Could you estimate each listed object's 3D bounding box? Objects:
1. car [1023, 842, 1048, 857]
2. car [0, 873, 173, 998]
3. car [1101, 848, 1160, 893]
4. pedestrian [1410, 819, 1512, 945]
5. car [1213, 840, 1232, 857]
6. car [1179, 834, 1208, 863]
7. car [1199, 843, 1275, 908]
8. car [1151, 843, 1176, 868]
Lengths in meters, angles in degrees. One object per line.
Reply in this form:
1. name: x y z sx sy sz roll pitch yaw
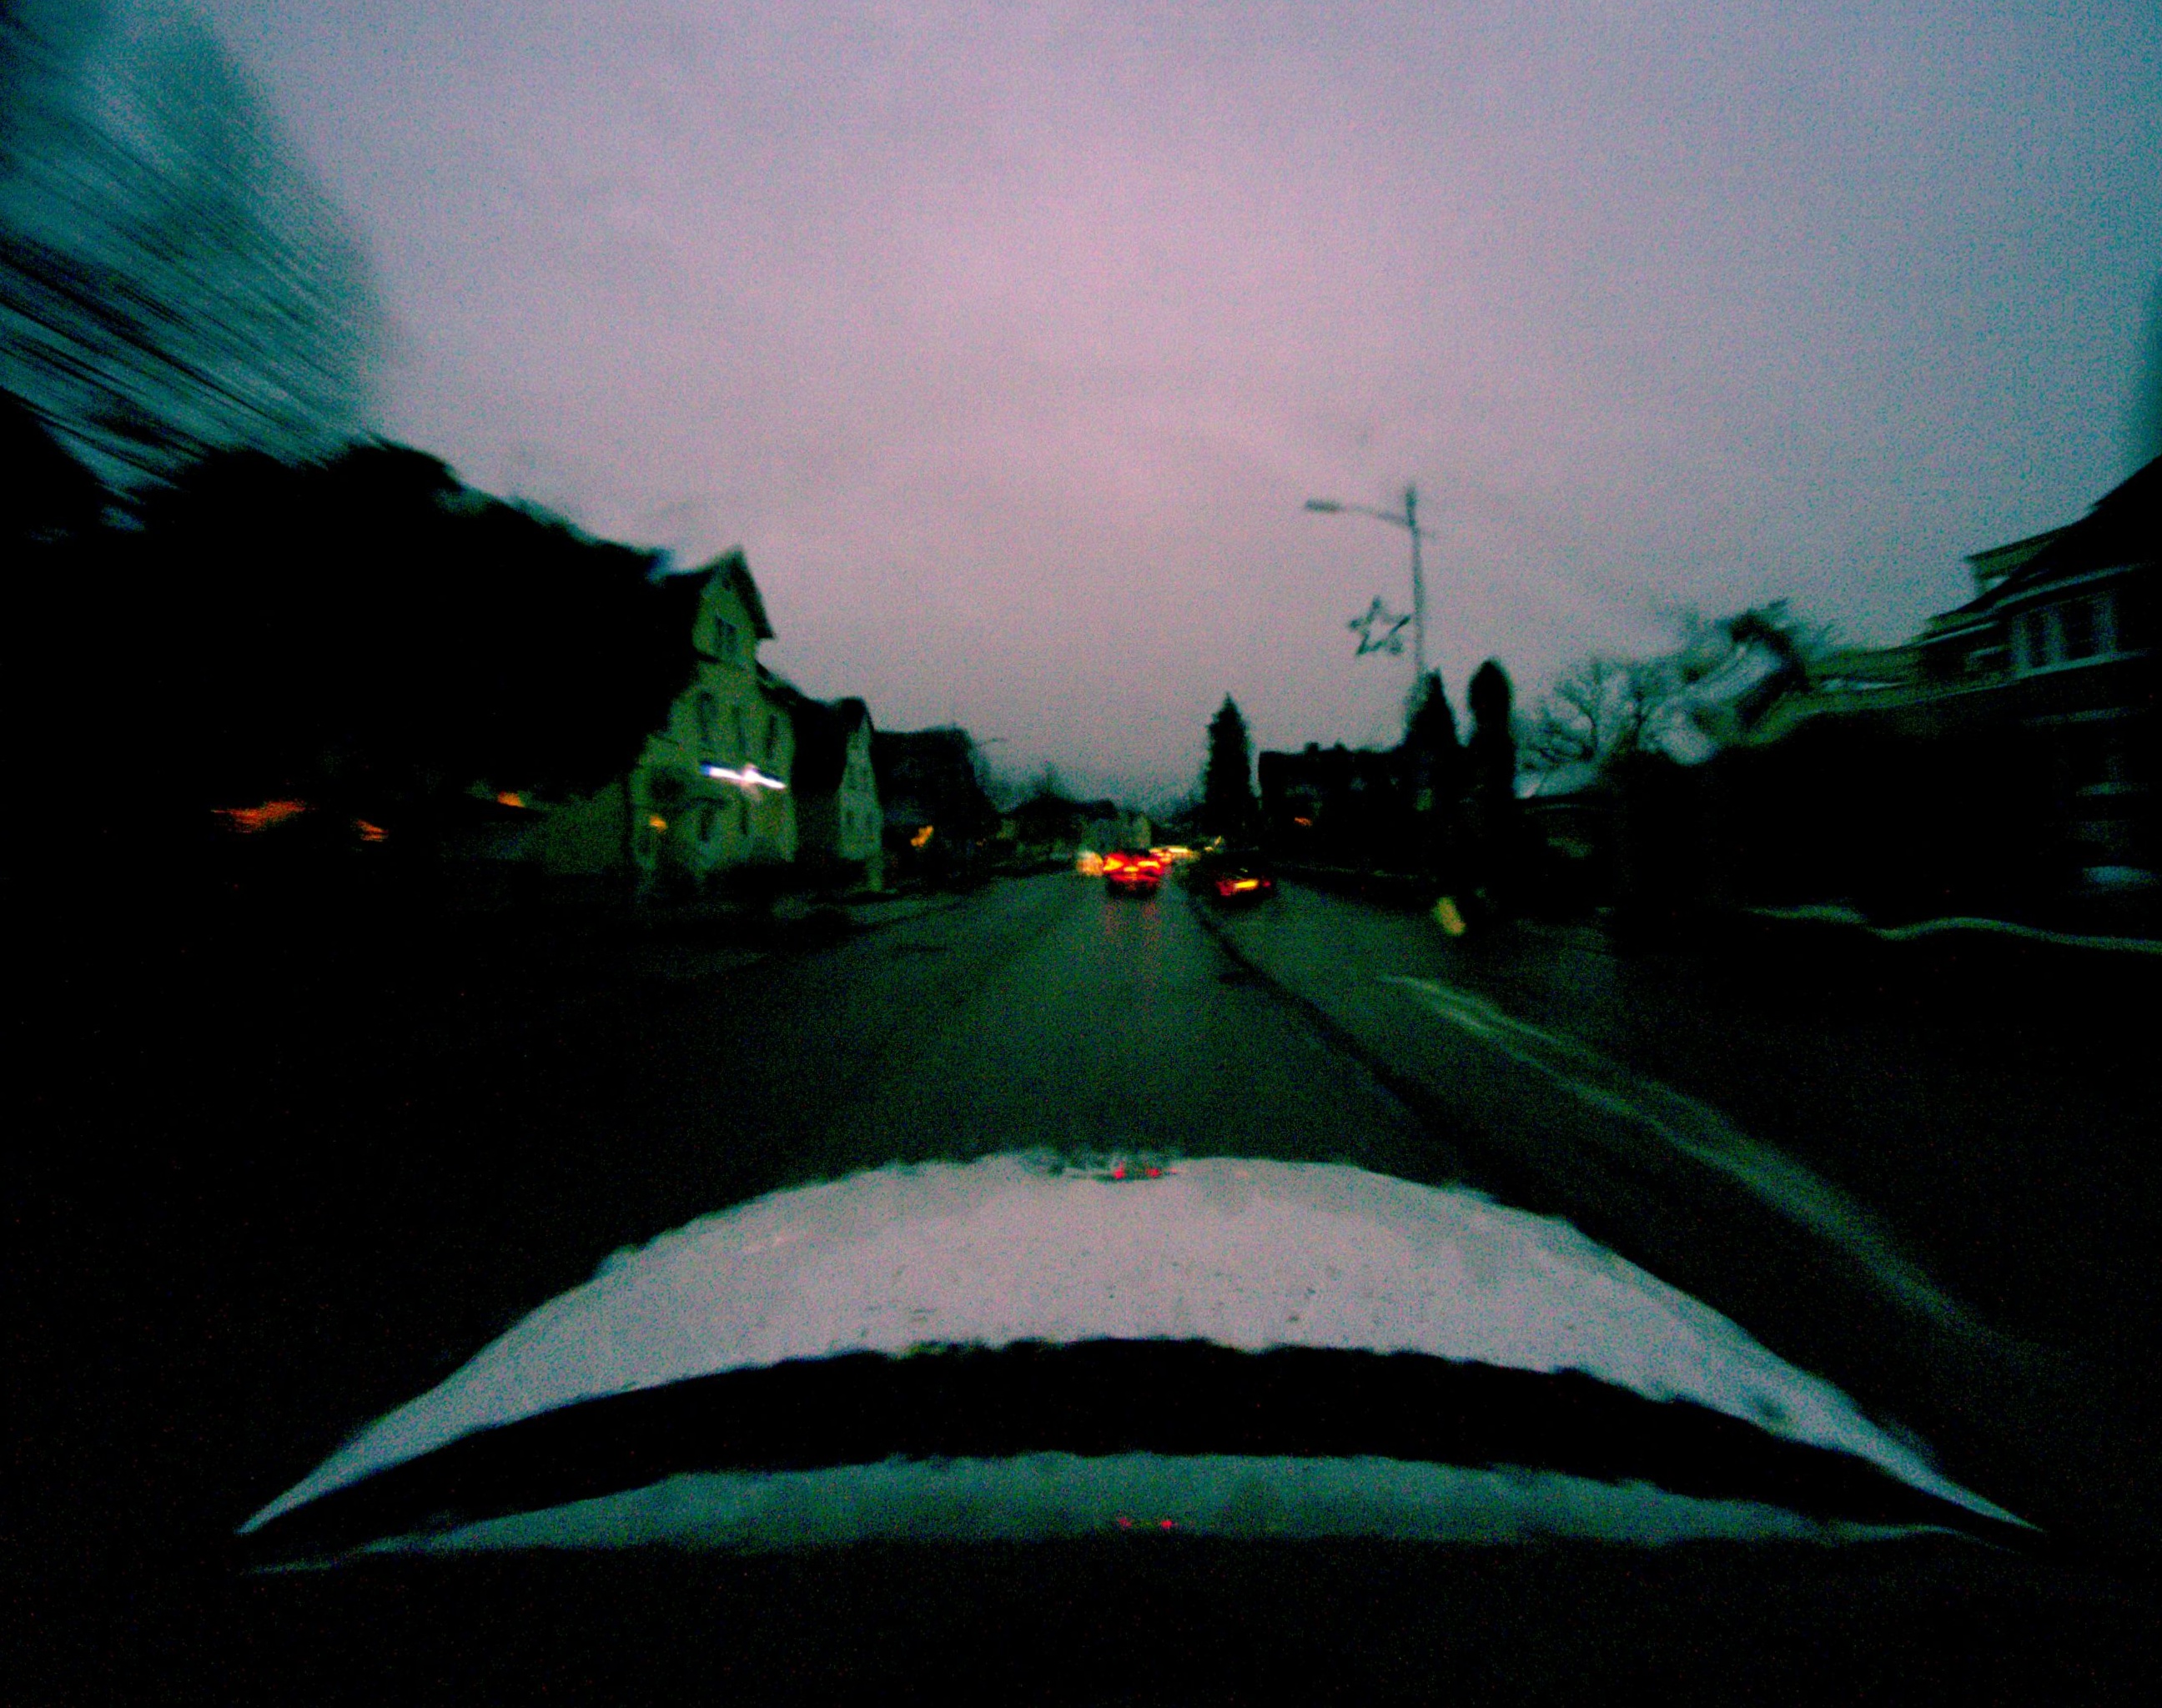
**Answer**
1. car: -6.364 -0.607 115.194 1.976 2.013 4.022 1 1 23
2. car: -13.063 0.944 8.819 1.773 1.366 4.006 -1 0 6
3. car: 1.801 0.551 30.102 1.985 1.525 4.003 -1 0 3
4. pedestrian: 5.641 0.396 12.167 0.983 1.741 1.057 -3 0 4
5. car: 16.807 -0.660 96.562 1.731 1.785 4.355 -4 1 16
6. car: 8.657 -0.459 62.615 1.966 2.013 5.759 -4 1 8
7. car: 4.253 0.544 22.618 1.641 1.540 3.395 -5 0 5
8. car: 6.958 0.122 68.276 1.983 2.013 4.007 -1 0 6
